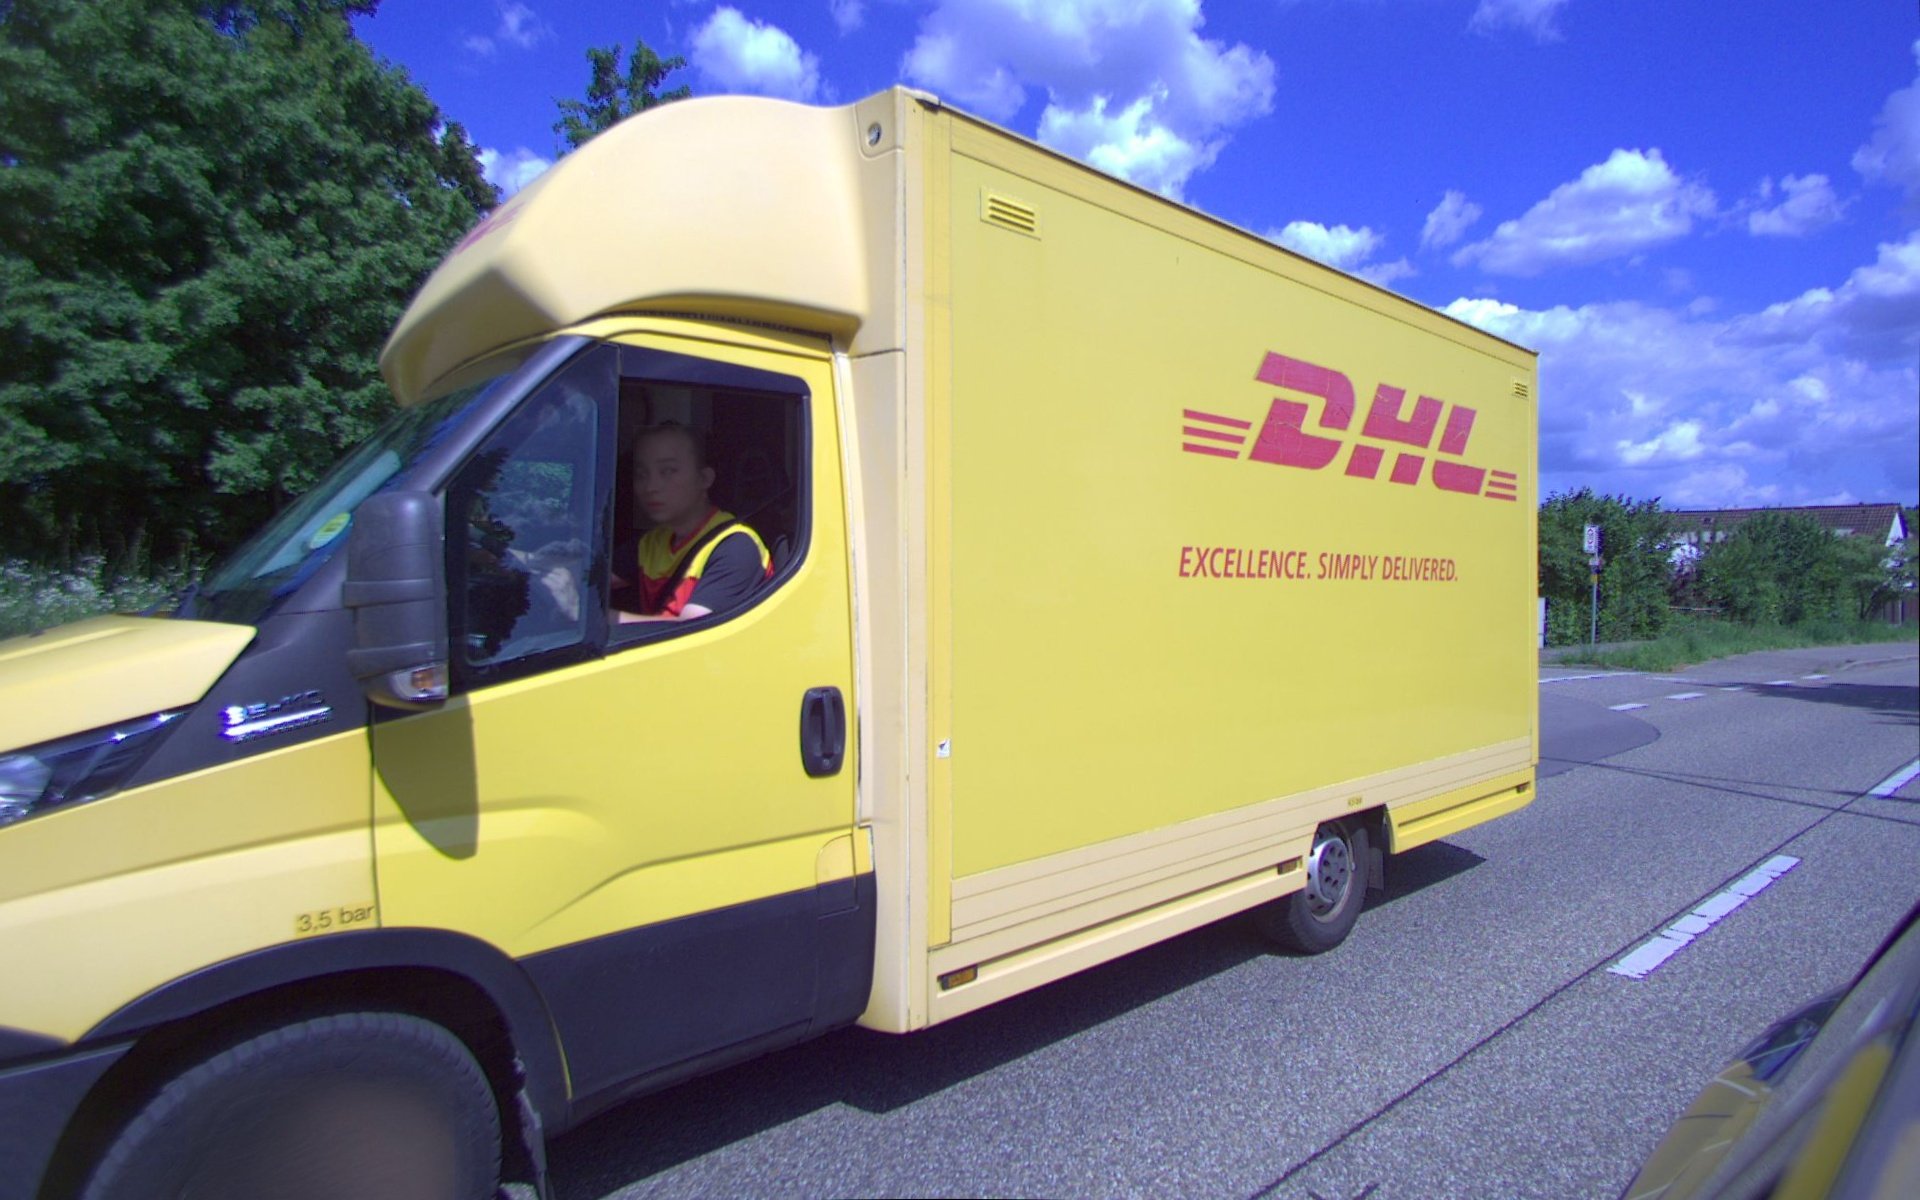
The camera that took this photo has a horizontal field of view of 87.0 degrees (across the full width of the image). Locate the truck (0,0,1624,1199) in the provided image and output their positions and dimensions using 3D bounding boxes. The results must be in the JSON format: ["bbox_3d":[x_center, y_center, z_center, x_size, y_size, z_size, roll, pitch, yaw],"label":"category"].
[{"bbox_3d":[0.493,-0.057,4.646,7.887,2.917,2.268,0,0,-41],"label":"truck"}]
